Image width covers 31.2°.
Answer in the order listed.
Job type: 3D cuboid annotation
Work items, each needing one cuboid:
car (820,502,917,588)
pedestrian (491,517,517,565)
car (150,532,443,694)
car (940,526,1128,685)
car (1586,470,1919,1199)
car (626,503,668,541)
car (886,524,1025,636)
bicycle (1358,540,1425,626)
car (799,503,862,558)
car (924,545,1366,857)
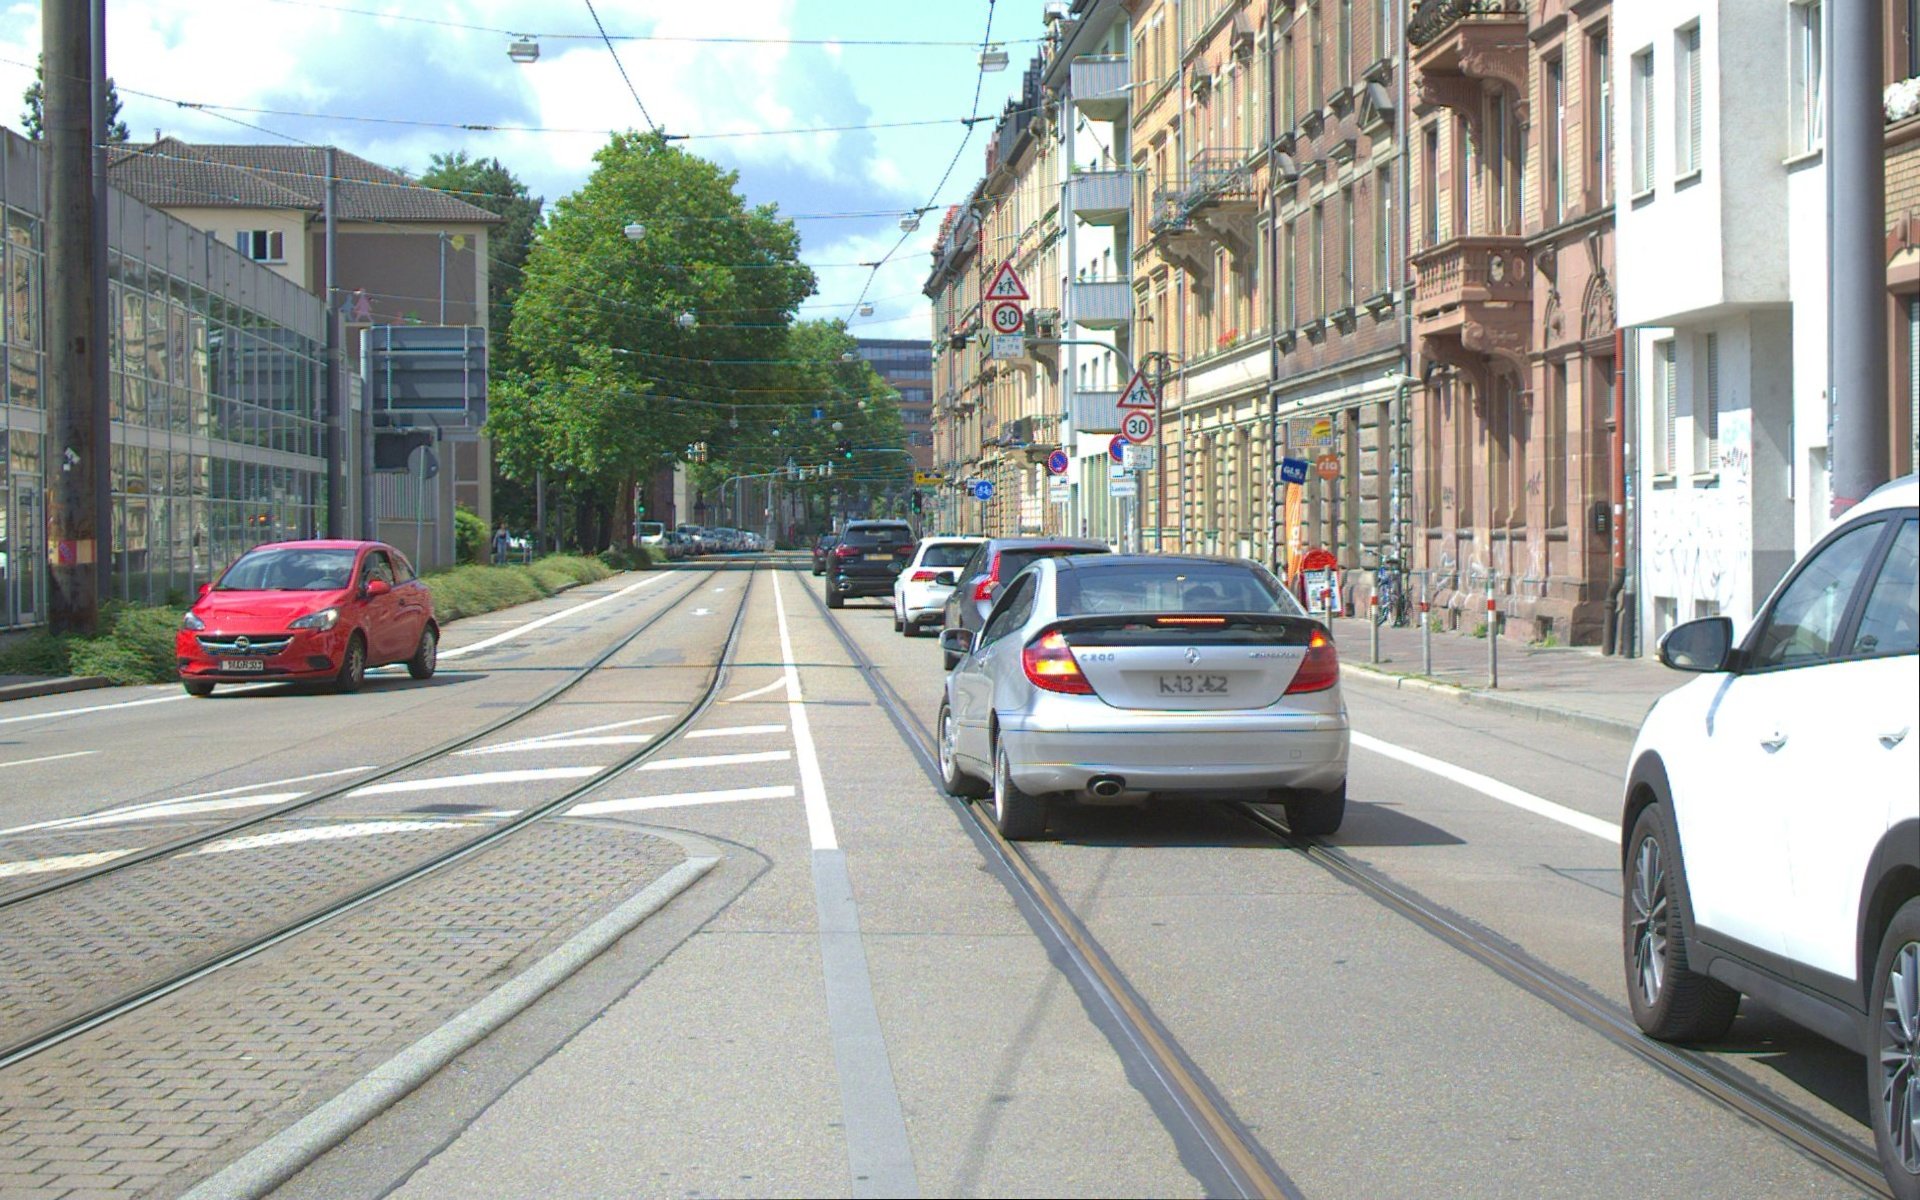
[{"bbox_3d":[-1.864,-1.121,69.026,1.814,1.656,4.086,-1,2,-3],"label":"car"},{"bbox_3d":[-18.057,-2.351,136.150,0.880,1.859,1.081,-2,1,-3],"label":"pedestrian"},{"bbox_3d":[-6.471,0.081,33.942,1.702,1.423,3.901,-1,2,7],"label":"car"},{"bbox_3d":[0.714,0.013,35.563,1.814,1.519,4.085,-1,1,0],"label":"car"},{"bbox_3d":[2.889,0.536,8.560,1.852,1.628,4.181,0,1,0],"label":"car"},{"bbox_3d":[-15.759,-3.936,173.400,1.950,1.888,4.566,0,1,-3],"label":"car"},{"bbox_3d":[-0.100,-0.326,50.483,1.814,1.519,3.956,-1,2,-3],"label":"car"},{"bbox_3d":[6.226,-0.258,49.681,0.586,1.174,2.205,-1,2,-2],"label":"bicycle"},{"bbox_3d":[-4.465,-2.402,118.314,1.993,1.853,4.001,-1,2,-5],"label":"car"},{"bbox_3d":[0.843,0.434,18.088,1.814,1.415,4.188,-1,1,-4],"label":"car"}]
